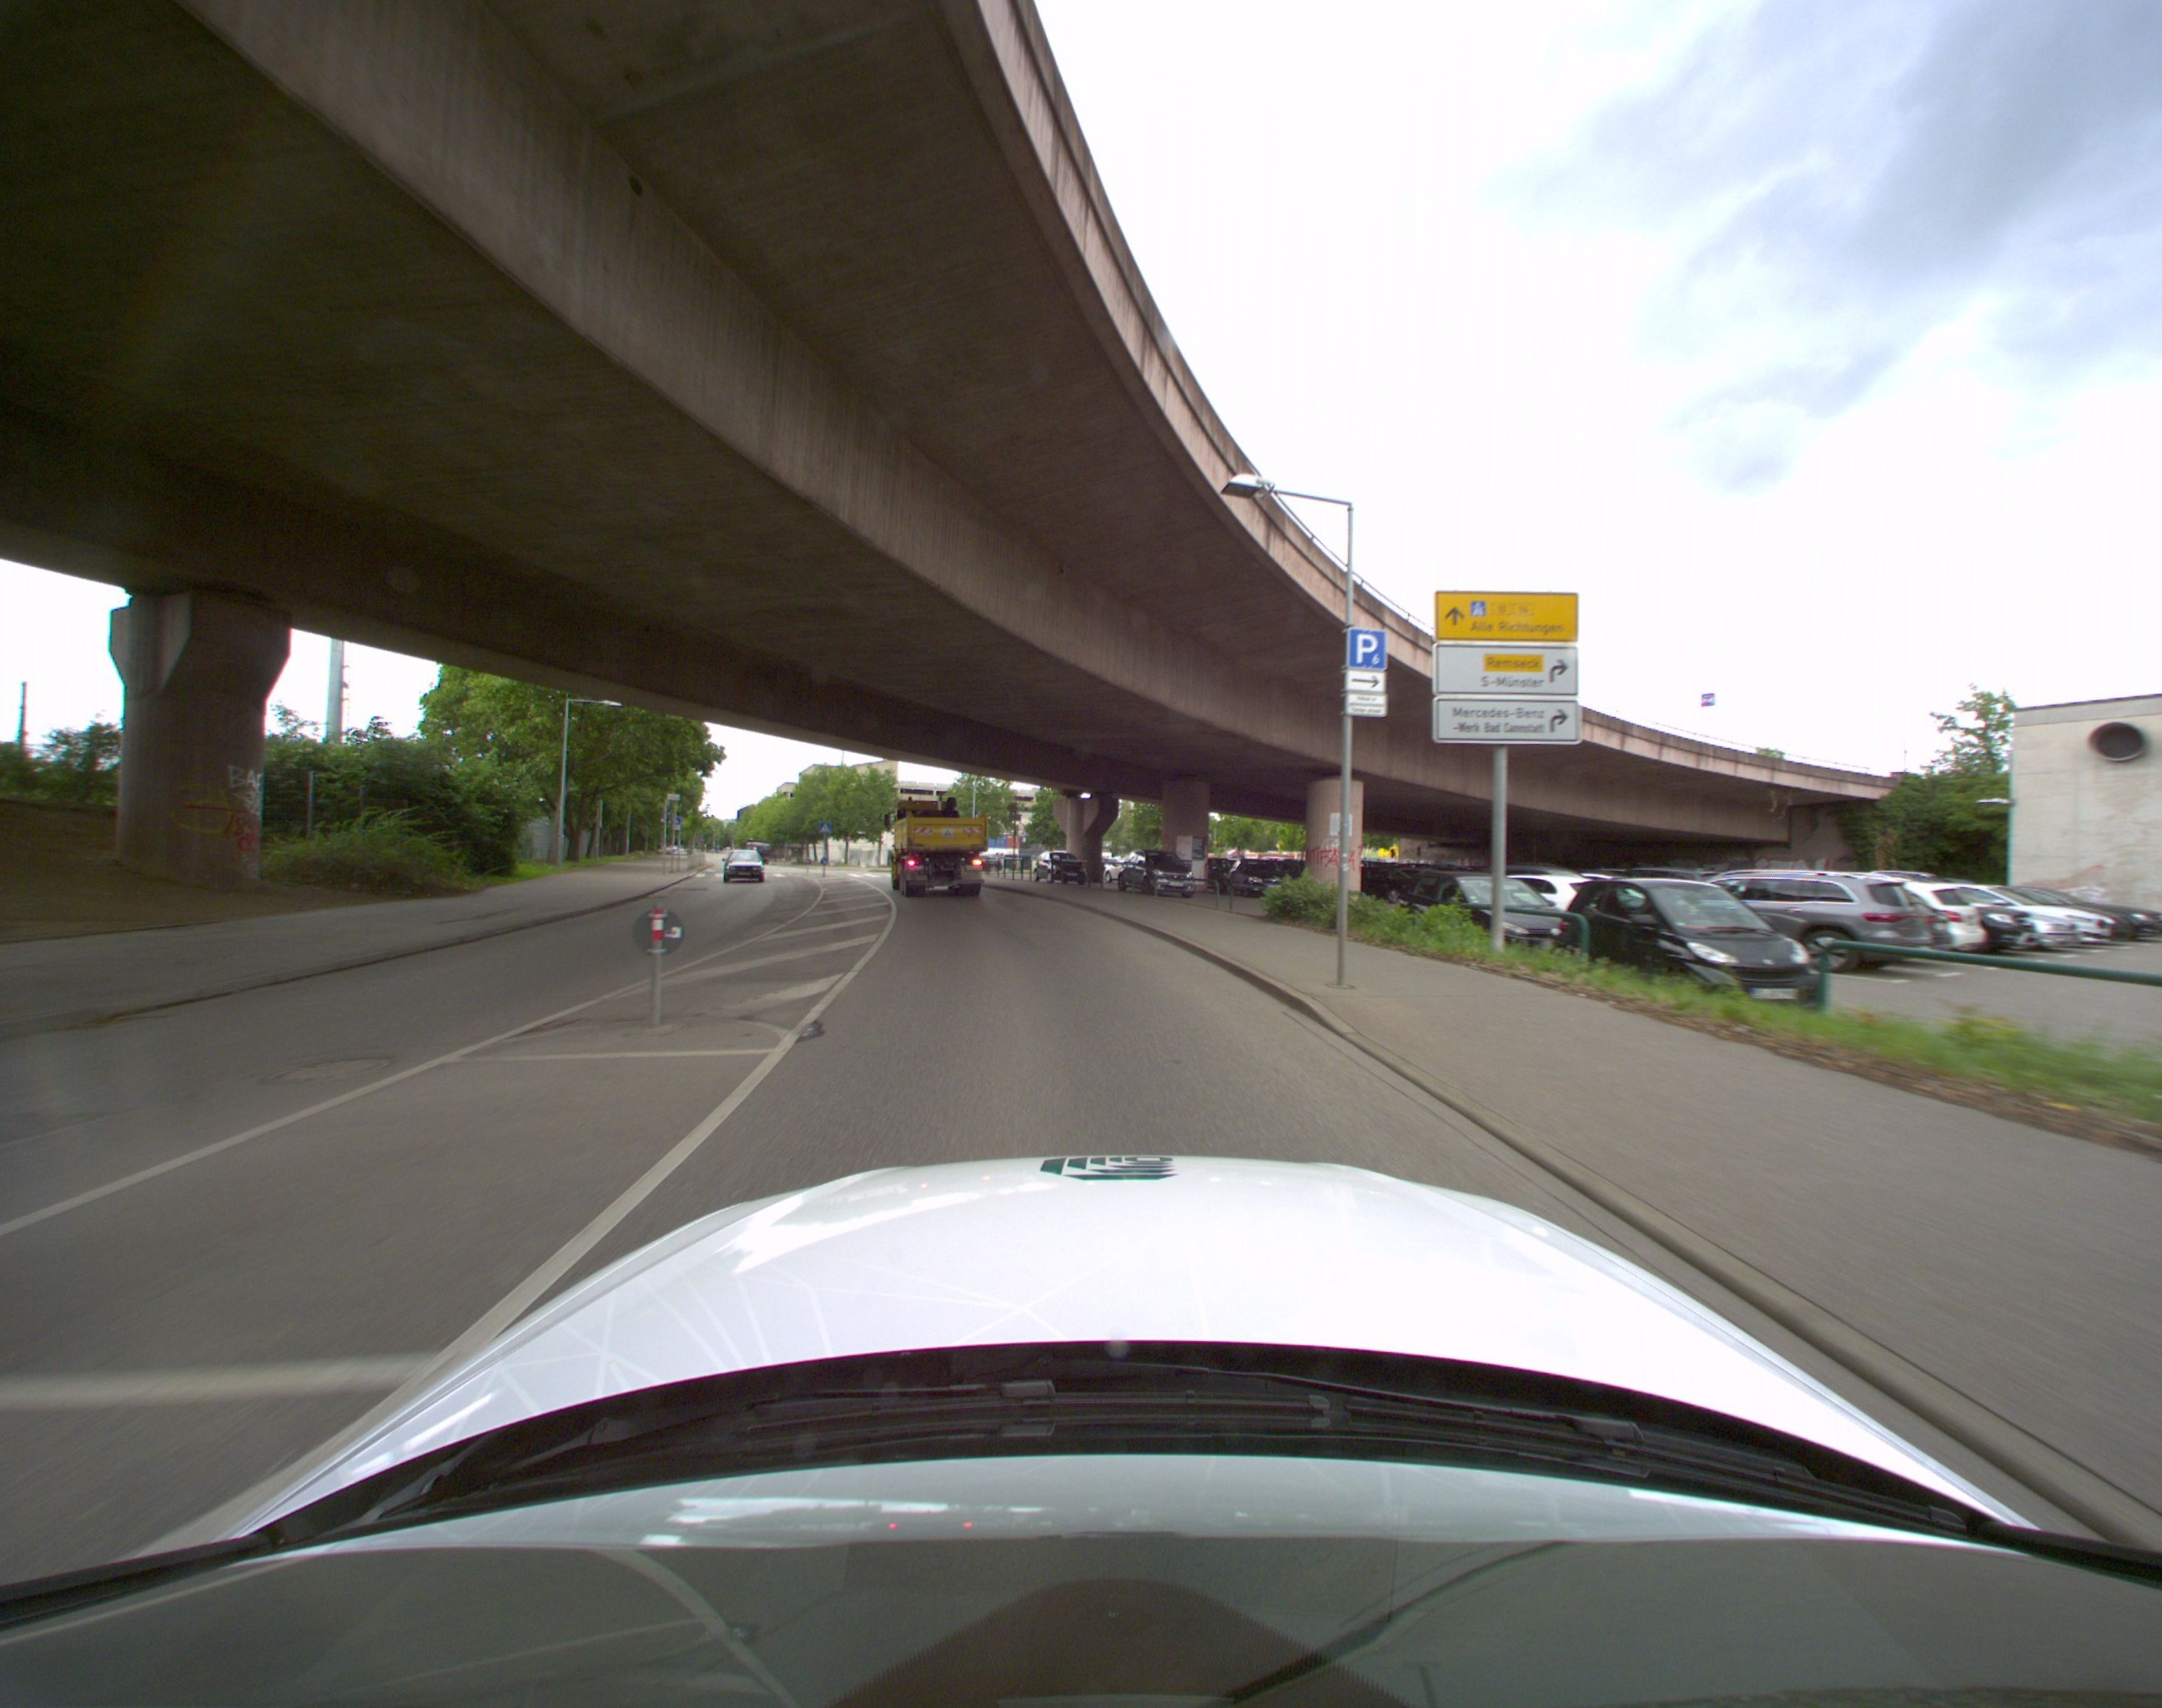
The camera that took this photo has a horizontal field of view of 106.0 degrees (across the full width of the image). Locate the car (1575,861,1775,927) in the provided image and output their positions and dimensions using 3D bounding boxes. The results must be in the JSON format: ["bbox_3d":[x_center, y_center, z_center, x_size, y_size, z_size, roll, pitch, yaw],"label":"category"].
[{"bbox_3d":[16.525,1.046,22.874,1.843,1.592,4.154,1,0,-28],"label":"car"}]

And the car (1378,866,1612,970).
[{"bbox_3d":[6.975,0.989,14.294,1.727,1.479,4.243,1,0,-4],"label":"car"}]

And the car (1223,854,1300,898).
[{"bbox_3d":[6.863,0.841,31.363,1.782,1.506,3.851,2,-2,-5],"label":"car"}]

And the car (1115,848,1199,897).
[{"bbox_3d":[2.555,0.591,28.102,1.610,1.533,3.390,3,-1,-18],"label":"car"}]

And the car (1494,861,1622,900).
[{"bbox_3d":[23.174,1.231,39.770,2.096,1.677,5.060,1,0,-28],"label":"car"}]

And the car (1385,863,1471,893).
[{"bbox_3d":[18.230,1.238,42.920,1.843,1.427,3.827,1,0,-28],"label":"car"}]

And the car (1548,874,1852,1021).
[{"bbox_3d":[7.358,1.031,9.997,1.536,1.479,2.756,1,0,-4],"label":"car"}]

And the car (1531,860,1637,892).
[{"bbox_3d":[25.192,1.079,40.937,1.843,1.465,4.154,1,0,-28],"label":"car"}]

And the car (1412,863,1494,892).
[{"bbox_3d":[20.211,1.271,44.382,1.683,1.427,3.827,1,0,-28],"label":"car"}]

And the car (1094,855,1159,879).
[{"bbox_3d":[3.104,0.904,55.118,4.261,1.420,1.496,2,1,-30],"label":"car"}]

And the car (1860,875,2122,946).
[{"bbox_3d":[23.177,1.363,20.951,1.713,1.509,4.222,1,0,-28],"label":"car"}]

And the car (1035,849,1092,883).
[{"bbox_3d":[-0.860,0.520,37.399,1.610,1.397,3.558,3,-1,-18],"label":"car"}]

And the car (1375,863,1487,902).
[{"bbox_3d":[14.814,1.178,34.728,1.843,1.465,4.154,1,0,-28],"label":"car"}]

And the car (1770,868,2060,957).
[{"bbox_3d":[19.046,1.240,18.863,1.761,1.691,4.392,1,0,-28],"label":"car"}]

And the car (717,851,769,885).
[{"bbox_3d":[-15.237,0.588,36.845,1.680,1.430,3.978,1,0,-16],"label":"car"}]

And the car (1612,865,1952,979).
[{"bbox_3d":[12.600,1.097,15.018,1.750,1.675,4.429,1,0,-28],"label":"car"}]

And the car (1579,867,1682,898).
[{"bbox_3d":[28.852,1.469,42.888,1.843,1.465,4.154,1,0,-28],"label":"car"}]

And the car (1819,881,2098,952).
[{"bbox_3d":[21.082,1.422,19.811,1.635,1.363,4.366,1,0,-28],"label":"car"}]

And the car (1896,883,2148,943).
[{"bbox_3d":[25.389,1.527,22.168,1.713,1.305,4.222,1,0,-28],"label":"car"}]

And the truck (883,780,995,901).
[{"bbox_3d":[-5.310,-0.396,29.143,2.766,3.698,7.830,-1,0,-19],"label":"truck"}]

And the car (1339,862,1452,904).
[{"bbox_3d":[12.827,1.133,33.489,1.843,1.550,4.154,1,0,-28],"label":"car"}]

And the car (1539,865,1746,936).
[{"bbox_3d":[14.721,1.149,21.600,1.843,1.592,4.154,1,0,-28],"label":"car"}]

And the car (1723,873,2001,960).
[{"bbox_3d":[16.856,1.256,17.821,1.761,1.557,4.050,1,0,-28],"label":"car"}]

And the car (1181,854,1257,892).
[{"bbox_3d":[6.073,0.825,36.166,1.534,1.500,3.344,4,-1,-28],"label":"car"}]

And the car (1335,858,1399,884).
[{"bbox_3d":[19.479,1.129,55.539,1.765,1.638,3.821,1,0,-35],"label":"car"}]

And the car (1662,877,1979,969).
[{"bbox_3d":[14.651,1.258,16.464,1.761,1.449,4.418,1,0,-28],"label":"car"}]

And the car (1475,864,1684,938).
[{"bbox_3d":[12.448,1.105,20.613,1.843,1.592,4.154,1,0,-28],"label":"car"}]

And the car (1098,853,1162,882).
[{"bbox_3d":[2.764,0.766,46.391,1.644,1.552,3.971,1,-1,-31],"label":"car"}]

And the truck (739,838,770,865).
[{"bbox_3d":[-44.279,-0.289,110.230,2.690,3.558,7.845,-1,-1,-31],"label":"truck"}]

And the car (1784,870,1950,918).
[{"bbox_3d":[29.486,1.445,30.709,1.843,1.592,4.154,1,0,-28],"label":"car"}]

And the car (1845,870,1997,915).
[{"bbox_3d":[35.705,1.596,34.737,1.843,1.688,4.154,1,0,-28],"label":"car"}]

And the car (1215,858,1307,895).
[{"bbox_3d":[8.114,0.987,37.072,1.840,1.470,4.345,3,-1,-24],"label":"car"}]

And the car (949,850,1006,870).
[{"bbox_3d":[-8.720,0.530,68.594,4.545,1.574,1.835,1,0,-17],"label":"car"}]

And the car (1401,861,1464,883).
[{"bbox_3d":[25.429,1.284,59.002,1.765,1.478,3.821,1,0,-35],"label":"car"}]

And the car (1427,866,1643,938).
[{"bbox_3d":[10.598,1.058,19.328,1.843,1.421,4.154,1,0,-28],"label":"car"}]

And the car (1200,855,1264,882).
[{"bbox_3d":[9.325,0.870,50.570,1.705,1.555,3.821,1,0,-35],"label":"car"}]

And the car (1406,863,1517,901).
[{"bbox_3d":[16.732,1.201,35.993,1.843,1.465,4.154,1,0,-28],"label":"car"}]

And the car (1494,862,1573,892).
[{"bbox_3d":[26.011,1.279,46.923,1.683,1.598,3.630,1,0,-28],"label":"car"}]

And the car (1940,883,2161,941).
[{"bbox_3d":[27.444,1.559,22.911,1.713,1.305,4.222,1,0,-28],"label":"car"}]

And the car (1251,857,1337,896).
[{"bbox_3d":[9.983,1.042,38.444,1.843,1.698,3.827,1,0,-28],"label":"car"}]
